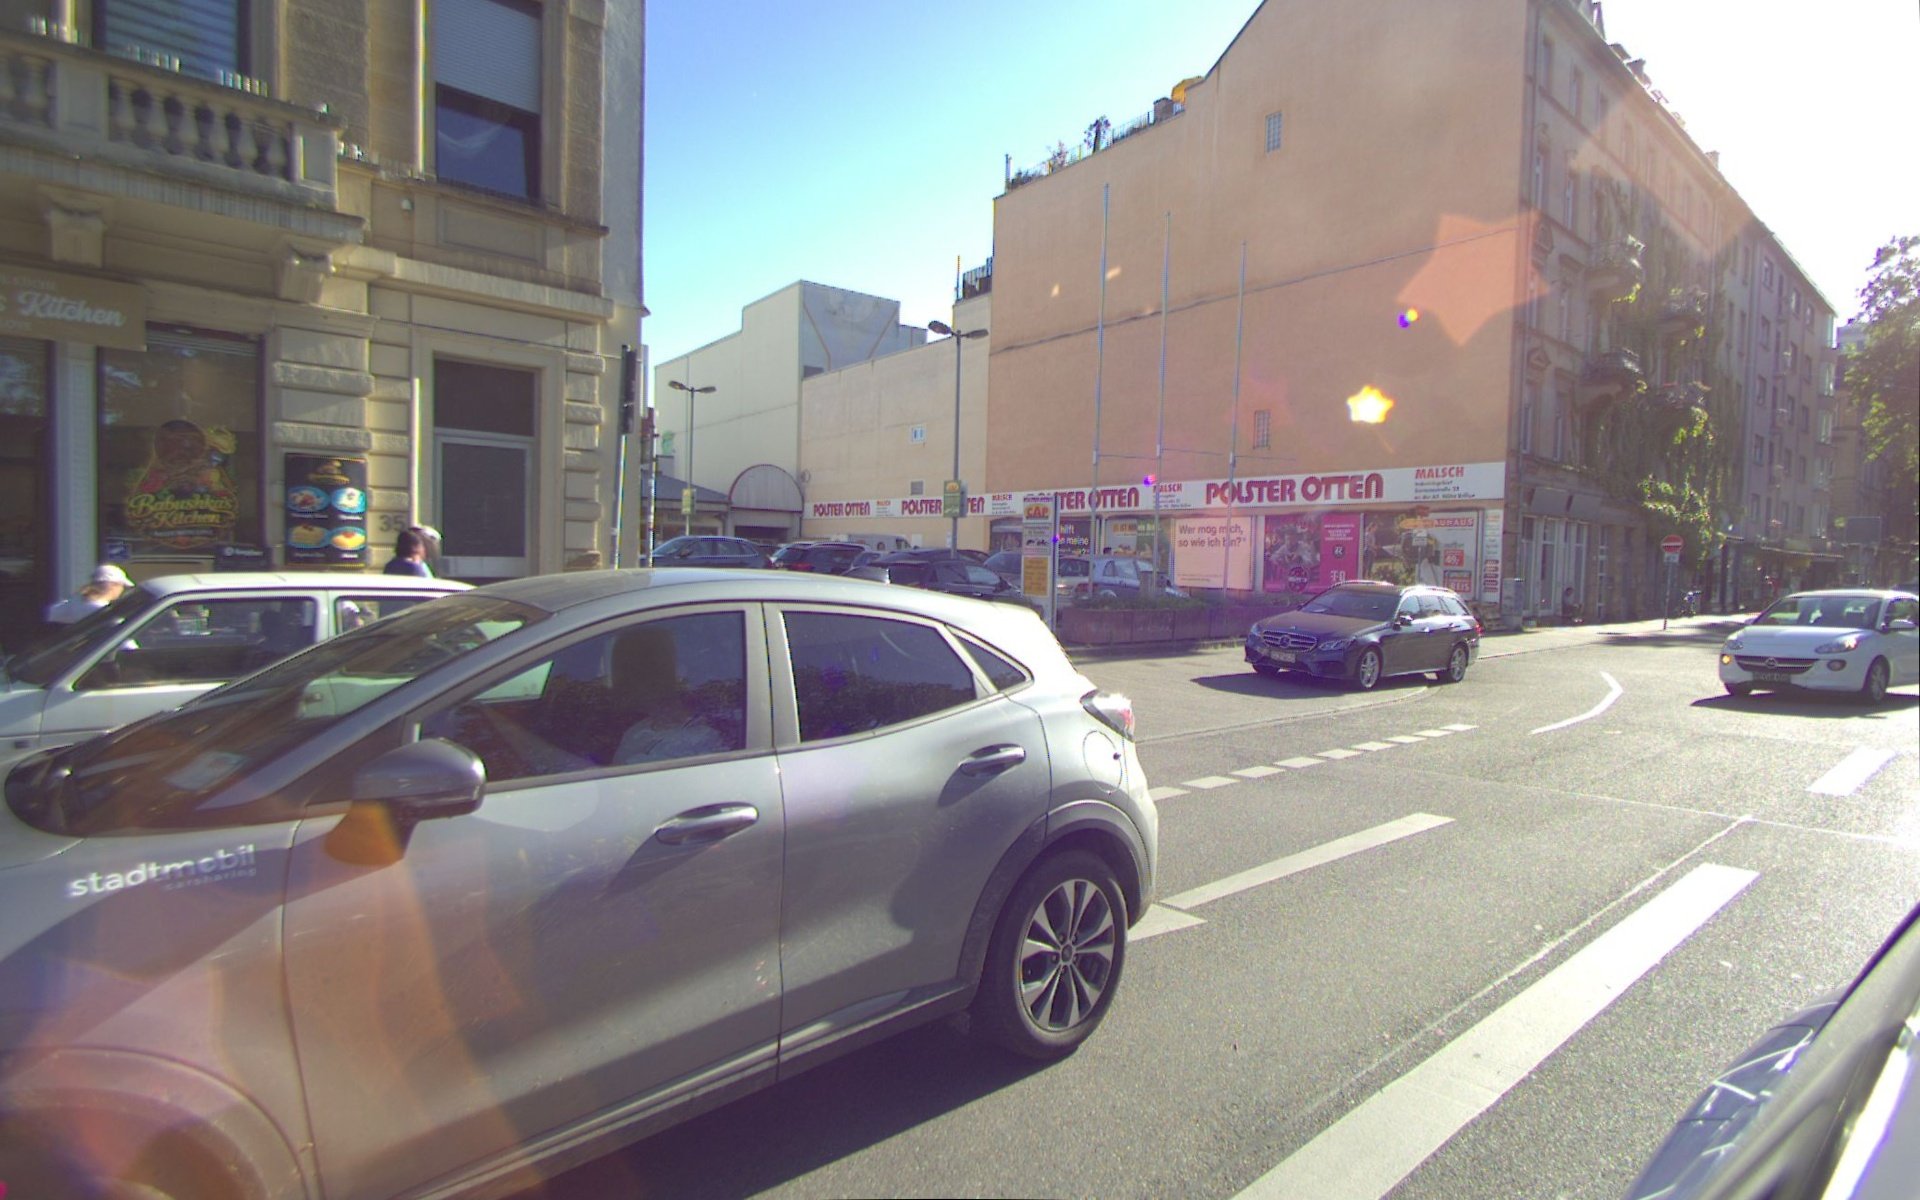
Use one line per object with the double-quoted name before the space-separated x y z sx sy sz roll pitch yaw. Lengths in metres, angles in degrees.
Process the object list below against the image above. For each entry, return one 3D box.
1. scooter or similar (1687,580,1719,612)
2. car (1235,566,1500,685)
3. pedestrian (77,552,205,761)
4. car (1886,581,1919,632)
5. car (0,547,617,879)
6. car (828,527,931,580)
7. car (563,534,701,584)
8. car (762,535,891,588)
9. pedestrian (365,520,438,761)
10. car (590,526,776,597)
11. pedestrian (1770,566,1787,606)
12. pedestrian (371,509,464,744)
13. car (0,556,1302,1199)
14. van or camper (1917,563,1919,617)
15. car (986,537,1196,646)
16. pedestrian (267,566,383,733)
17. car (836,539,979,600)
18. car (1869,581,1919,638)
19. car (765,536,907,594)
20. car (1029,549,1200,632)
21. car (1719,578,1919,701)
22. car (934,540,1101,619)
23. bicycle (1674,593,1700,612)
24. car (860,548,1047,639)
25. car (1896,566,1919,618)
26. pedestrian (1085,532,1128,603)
"scooter or similar" 29.728 -0.166 40.511 0.631 1.188 1.720 2 3 24
"car" 6.510 0.303 15.912 4.650 1.504 1.838 -1 5 -40
"pedestrian" -6.253 0.381 7.711 1.015 1.387 0.645 10 8 44
"car" 30.678 0.162 32.015 3.933 1.536 1.740 -1 0 -43
"car" -4.210 0.484 5.806 3.934 1.432 1.566 -1 6 -41
"car" -3.949 -2.283 50.142 4.787 2.441 1.713 0 3 -32
"car" -10.707 -1.313 33.167 3.931 1.537 1.725 -1 3 -41
"car" -4.247 -1.233 32.546 3.871 1.600 1.659 -1 3 -42
"pedestrian" -4.195 0.278 7.594 0.381 1.728 0.551 0 4 -38
"car" -7.098 -0.977 26.152 4.306 1.686 1.758 -1 3 -41
"pedestrian" 37.998 -0.645 46.994 0.507 1.855 0.469 0 2 -41
"pedestrian" -4.452 0.185 8.292 0.521 1.828 0.674 0 4 -41
"car" -0.854 0.678 2.827 1.698 1.546 4.310 2 2 45
"van or camper" 38.550 -0.357 39.069 5.007 2.038 1.887 -1 3 -42
"car" 2.417 -0.175 18.107 3.840 1.664 1.652 0 5 -45
"pedestrian" -5.397 0.379 8.595 0.901 1.297 0.645 4 3 44
"car" -1.423 -0.854 28.224 3.871 1.563 1.544 -1 3 -42
"car" 27.441 0.238 29.072 3.933 1.536 1.642 -1 0 -43
"car" -3.538 -0.998 29.219 3.871 1.563 1.544 -1 3 -42
"car" 3.504 -0.256 22.554 3.935 1.665 1.746 -1 3 -45
"car" 12.422 0.453 14.019 3.705 1.472 1.611 -1 1 -27
"car" 1.433 -0.515 24.119 3.934 1.714 1.747 -1 3 -44
"bicycle" 28.069 0.098 39.077 1.486 0.714 0.469 -1 3 -41
"car" -0.063 -0.154 18.810 3.340 1.504 1.559 -1 3 -45
"car" 34.447 -0.272 35.513 3.930 1.785 1.868 -1 3 -41
"pedestrian" 4.329 -0.968 29.932 0.907 2.038 0.818 0 2 -41
